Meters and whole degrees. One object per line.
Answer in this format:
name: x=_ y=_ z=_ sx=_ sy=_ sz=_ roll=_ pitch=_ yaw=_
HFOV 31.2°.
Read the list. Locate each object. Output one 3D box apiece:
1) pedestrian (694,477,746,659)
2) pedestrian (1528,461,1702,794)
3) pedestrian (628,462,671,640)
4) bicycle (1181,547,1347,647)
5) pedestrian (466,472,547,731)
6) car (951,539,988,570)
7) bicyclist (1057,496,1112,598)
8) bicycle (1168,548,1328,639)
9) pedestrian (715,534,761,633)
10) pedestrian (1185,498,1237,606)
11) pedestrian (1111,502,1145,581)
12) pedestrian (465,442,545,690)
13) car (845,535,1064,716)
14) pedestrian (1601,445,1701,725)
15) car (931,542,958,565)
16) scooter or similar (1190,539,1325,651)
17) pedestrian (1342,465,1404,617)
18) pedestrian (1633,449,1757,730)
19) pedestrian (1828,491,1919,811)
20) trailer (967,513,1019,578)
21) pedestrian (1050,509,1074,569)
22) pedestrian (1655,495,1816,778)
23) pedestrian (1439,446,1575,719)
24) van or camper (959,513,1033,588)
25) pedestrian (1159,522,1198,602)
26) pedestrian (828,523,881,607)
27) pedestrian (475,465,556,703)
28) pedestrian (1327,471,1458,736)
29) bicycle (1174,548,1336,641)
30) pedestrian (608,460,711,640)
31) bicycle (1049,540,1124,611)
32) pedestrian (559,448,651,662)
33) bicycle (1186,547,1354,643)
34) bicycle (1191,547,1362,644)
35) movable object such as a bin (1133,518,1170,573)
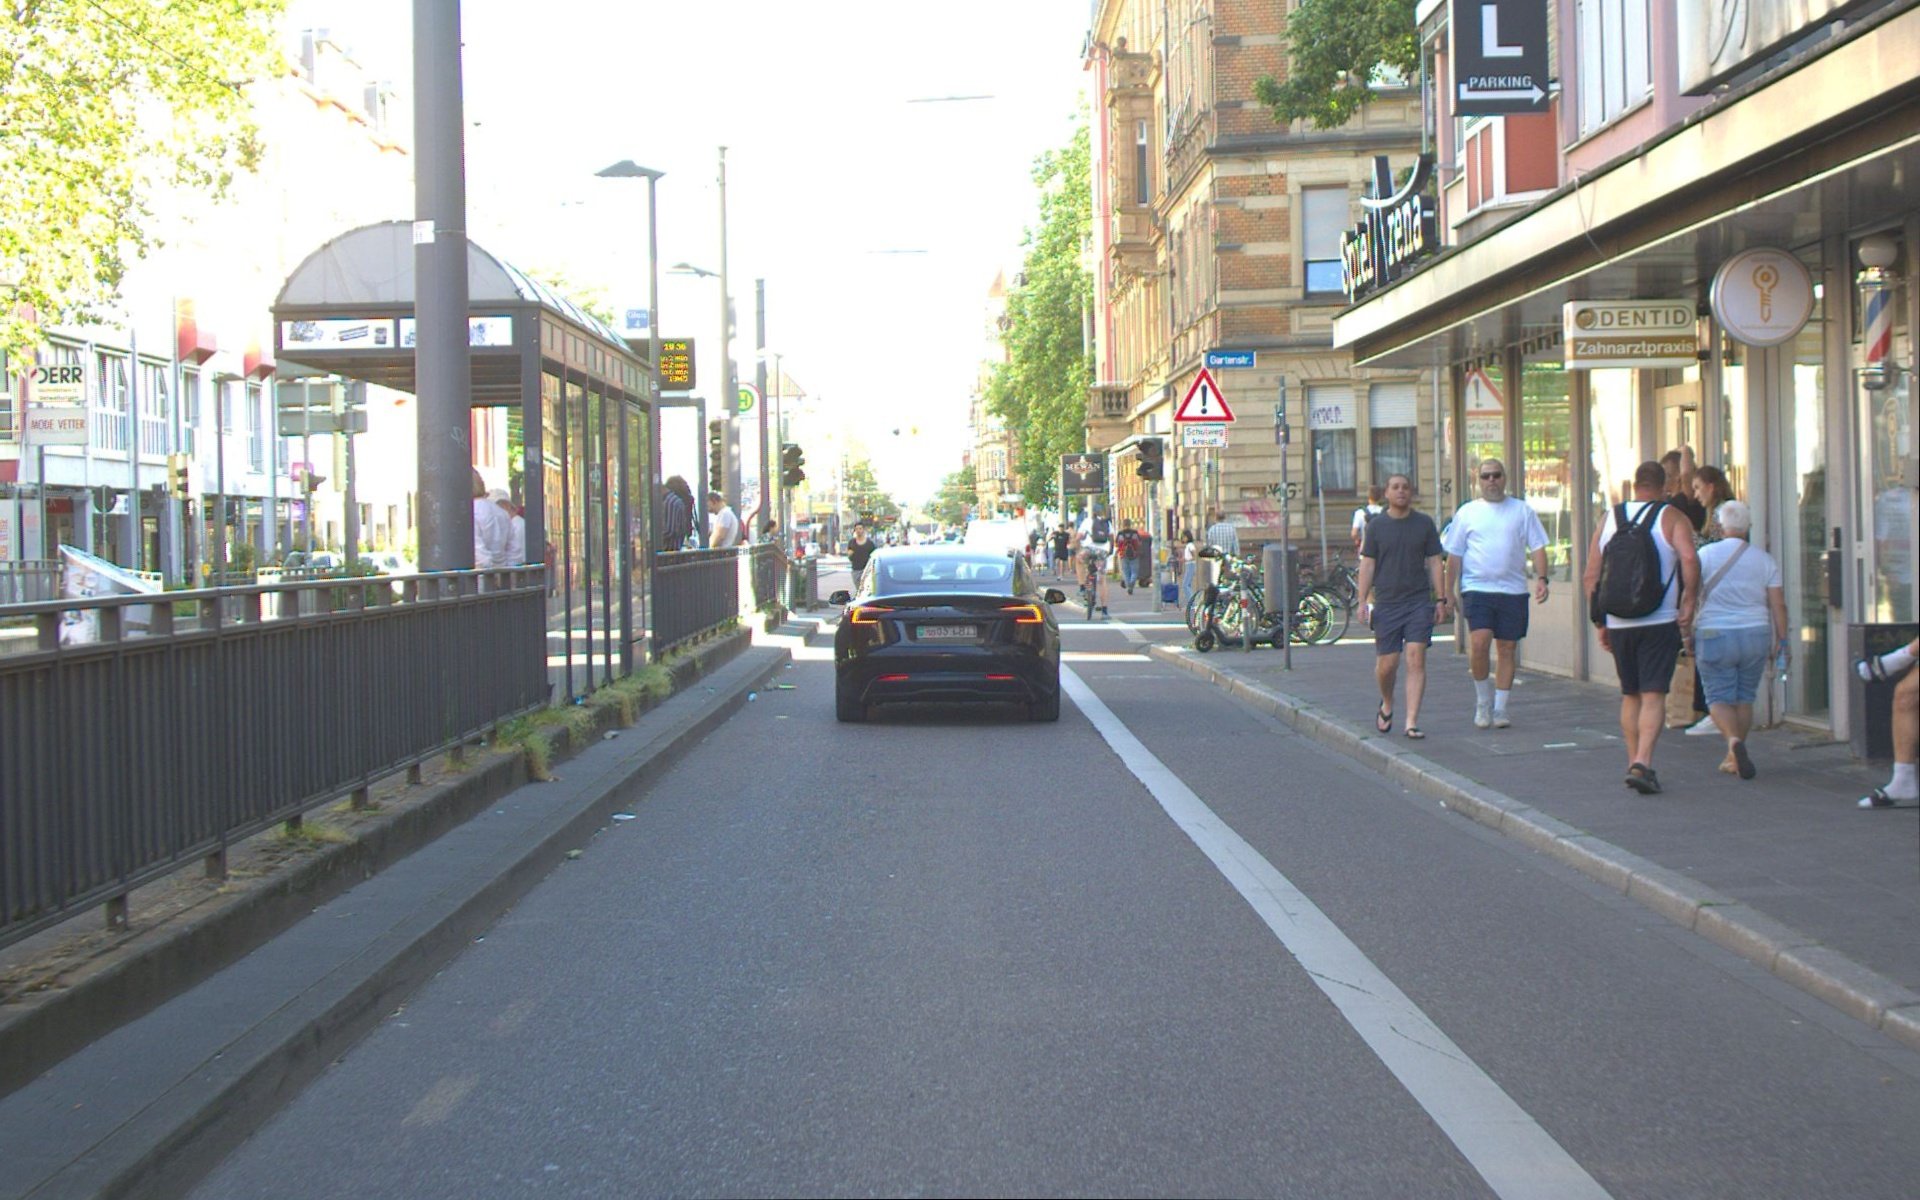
pedestrian: x=-2.817 y=-0.379 z=40.385 sx=0.537 sy=2.113 sz=0.808 roll=-1 pitch=1 yaw=-1
pedestrian: x=3.461 y=0.136 z=18.229 sx=0.744 sy=1.721 sz=0.814 roll=1 pitch=1 yaw=0
pedestrian: x=-2.937 y=-0.464 z=32.516 sx=0.351 sy=1.663 sz=0.529 roll=-1 pitch=1 yaw=-2
bicycle: x=3.728 y=-0.043 z=42.286 sx=1.945 sy=1.162 sz=0.628 roll=-1 pitch=1 yaw=-2
pedestrian: x=-2.782 y=0.004 z=21.111 sx=0.424 sy=1.568 sz=0.448 roll=0 pitch=1 yaw=0
car: x=0.452 y=-2.214 z=167.781 sx=1.710 sy=1.452 sz=4.550 roll=0 pitch=1 yaw=-1
bicyclist: x=2.044 y=-0.873 z=56.639 sx=0.655 sy=1.650 sz=0.928 roll=-1 pitch=1 yaw=-14
bicycle: x=3.655 y=-0.085 z=43.693 sx=1.945 sy=1.103 sz=0.564 roll=-1 pitch=1 yaw=-2
pedestrian: x=-3.014 y=-0.221 z=46.666 sx=0.480 sy=1.324 sz=0.354 roll=-1 pitch=1 yaw=29
pedestrian: x=4.308 y=-0.831 z=59.090 sx=0.847 sy=1.801 sz=0.876 roll=-1 pitch=2 yaw=5
pedestrian: x=3.712 y=-1.300 z=75.912 sx=0.470 sy=1.722 sz=0.586 roll=0 pitch=2 yaw=36
pedestrian: x=-2.919 y=-0.219 z=22.071 sx=0.424 sy=1.568 sz=0.592 roll=0 pitch=1 yaw=0
car: x=-0.090 y=0.167 z=28.866 sx=1.719 sy=1.400 sz=3.710 roll=0 pitch=1 yaw=-1
pedestrian: x=4.660 y=-0.109 z=23.207 sx=0.451 sy=1.843 sz=0.812 roll=-2 pitch=1 yaw=0
car: x=-0.990 y=-2.934 z=218.194 sx=1.593 sy=1.428 sz=3.686 roll=-1 pitch=1 yaw=1
scooter or similar: x=3.489 y=-0.062 z=40.360 sx=1.478 sy=1.225 sz=0.591 roll=-3 pitch=1 yaw=0
pedestrian: x=5.517 y=-0.776 z=45.890 sx=0.716 sy=1.978 sz=0.942 roll=0 pitch=-2 yaw=13
pedestrian: x=4.720 y=-0.069 z=22.100 sx=0.629 sy=1.763 sz=0.501 roll=-2 pitch=1 yaw=0
pedestrian: x=4.614 y=0.218 z=16.295 sx=0.738 sy=1.467 sz=0.707 roll=-4 pitch=1 yaw=1
trailer: x=1.112 y=-1.798 z=114.139 sx=1.661 sy=2.109 sz=3.842 roll=1 pitch=1 yaw=1
pedestrian: x=3.110 y=-1.864 z=104.521 sx=0.672 sy=1.808 sz=0.756 roll=-1 pitch=0 yaw=-1
pedestrian: x=4.220 y=0.189 z=18.742 sx=0.636 sy=1.478 sz=0.654 roll=-4 pitch=1 yaw=-1
pedestrian: x=3.764 y=-0.126 z=23.714 sx=0.706 sy=1.814 sz=0.763 roll=-4 pitch=1 yaw=0
van or camper: x=0.988 y=-1.360 z=96.746 sx=1.931 sy=2.030 sz=5.476 roll=0 pitch=0 yaw=-1
pedestrian: x=3.889 y=-0.683 z=61.277 sx=0.574 sy=1.410 sz=0.580 roll=1 pitch=1 yaw=15
pedestrian: x=-1.941 y=-0.648 z=63.359 sx=0.842 sy=1.543 sz=0.699 roll=-1 pitch=1 yaw=9
pedestrian: x=-2.969 y=-0.109 z=22.983 sx=0.321 sy=1.567 sz=0.542 roll=0 pitch=1 yaw=19
pedestrian: x=2.919 y=0.019 z=23.248 sx=0.667 sy=1.722 sz=0.810 roll=-4 pitch=1 yaw=-1
bicycle: x=3.691 y=-0.077 z=43.046 sx=1.945 sy=1.103 sz=0.564 roll=-1 pitch=1 yaw=-2
pedestrian: x=-3.091 y=-0.505 z=35.363 sx=0.770 sy=1.825 sz=0.804 roll=0 pitch=0 yaw=-30
bicycle: x=2.070 y=-0.413 z=56.612 sx=0.647 sy=1.135 sz=2.096 roll=0 pitch=1 yaw=-15
pedestrian: x=-2.965 y=-0.383 z=28.776 sx=0.689 sy=1.759 sz=0.748 roll=-1 pitch=1 yaw=-2
bicycle: x=3.752 y=-0.063 z=41.630 sx=1.945 sy=1.103 sz=0.564 roll=-1 pitch=1 yaw=-2
bicycle: x=3.770 y=-0.058 z=41.017 sx=1.945 sy=1.103 sz=0.564 roll=-1 pitch=1 yaw=-2
movable object such as a bin: x=4.719 y=-1.345 z=84.608 sx=0.775 sy=1.343 sz=1.299 roll=-1 pitch=1 yaw=-2
